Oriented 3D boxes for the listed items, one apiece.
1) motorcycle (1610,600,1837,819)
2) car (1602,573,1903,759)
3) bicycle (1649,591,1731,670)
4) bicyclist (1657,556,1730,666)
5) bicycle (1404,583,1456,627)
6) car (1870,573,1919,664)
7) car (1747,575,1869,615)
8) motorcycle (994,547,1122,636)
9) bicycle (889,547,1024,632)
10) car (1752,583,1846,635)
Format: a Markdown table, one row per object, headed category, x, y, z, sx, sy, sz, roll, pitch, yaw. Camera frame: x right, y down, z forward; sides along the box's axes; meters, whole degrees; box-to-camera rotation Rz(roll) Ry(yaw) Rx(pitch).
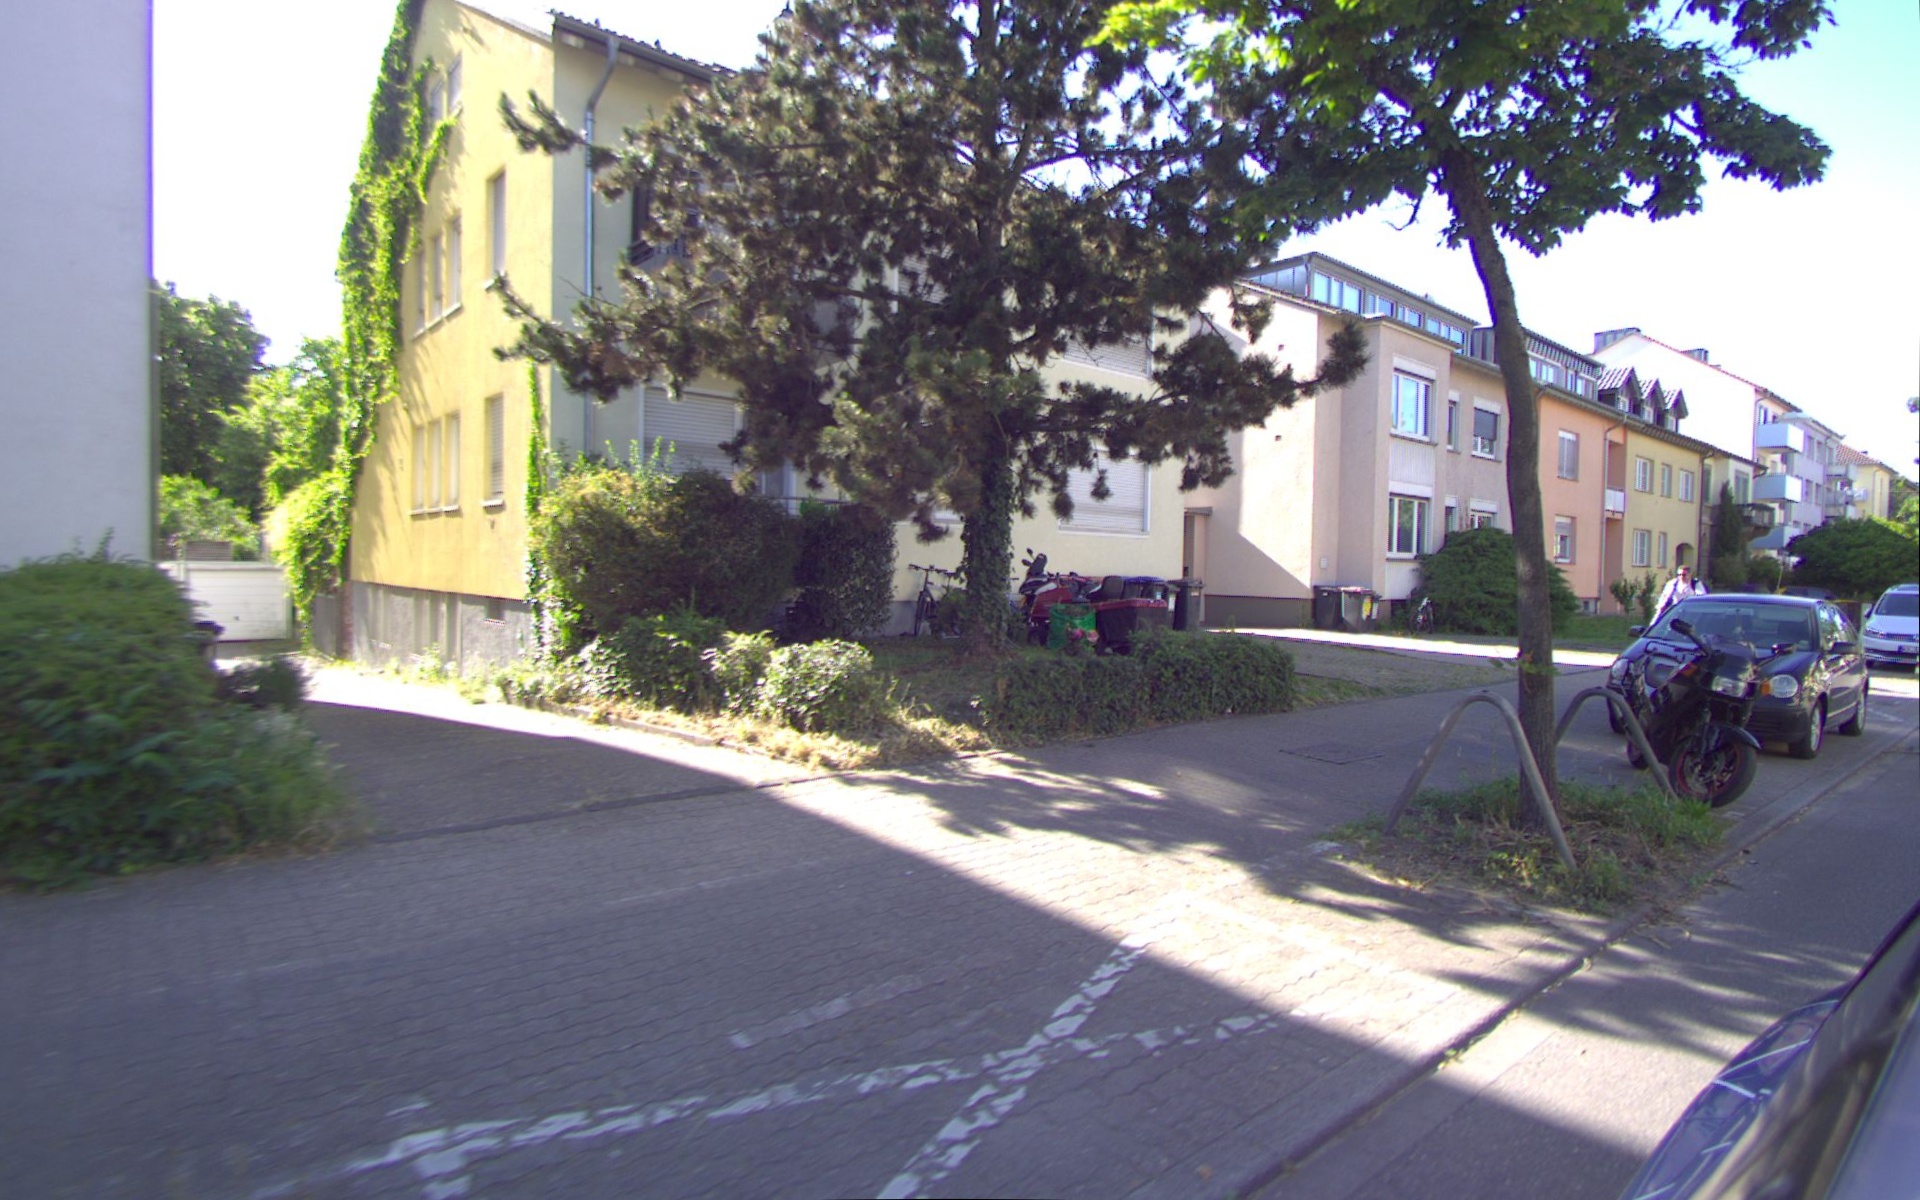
| category | x | y | z | sx | sy | sz | roll | pitch | yaw |
| --- | --- | --- | --- | --- | --- | --- | --- | --- | --- |
| motorcycle | 5.682 | 0.702 | 7.723 | 0.692 | 1.287 | 2.415 | 3 | 3 | 21 |
| car | 8.122 | 0.532 | 10.281 | 3.583 | 1.517 | 1.624 | 0 | 3 | -39 |
| bicycle | 12.575 | 0.487 | 17.407 | 1.790 | 1.262 | 0.699 | 0 | 3 | -41 |
| bicyclist | 12.651 | 0.172 | 17.450 | 0.998 | 1.815 | 0.725 | 0 | 3 | -41 |
| bicycle | 11.551 | 0.107 | 24.841 | 1.713 | 1.004 | 0.456 | -2 | 5 | -41 |
| car | 19.572 | 0.355 | 20.091 | 4.267 | 1.679 | 1.772 | 0 | 3 | -42 |
| car | 39.305 | -0.265 | 46.962 | 1.799 | 1.458 | 3.998 | 0 | 6 | -40 |
| motorcycle | 1.671 | -0.153 | 16.932 | 2.383 | 1.392 | 0.637 | 0 | 3 | -41 |
| bicycle | -0.028 | -0.178 | 16.646 | 2.383 | 1.319 | 0.599 | 0 | 3 | -41 |
| car | 25.327 | 0.225 | 30.512 | 3.653 | 1.372 | 1.535 | 0 | 5 | -41 |
